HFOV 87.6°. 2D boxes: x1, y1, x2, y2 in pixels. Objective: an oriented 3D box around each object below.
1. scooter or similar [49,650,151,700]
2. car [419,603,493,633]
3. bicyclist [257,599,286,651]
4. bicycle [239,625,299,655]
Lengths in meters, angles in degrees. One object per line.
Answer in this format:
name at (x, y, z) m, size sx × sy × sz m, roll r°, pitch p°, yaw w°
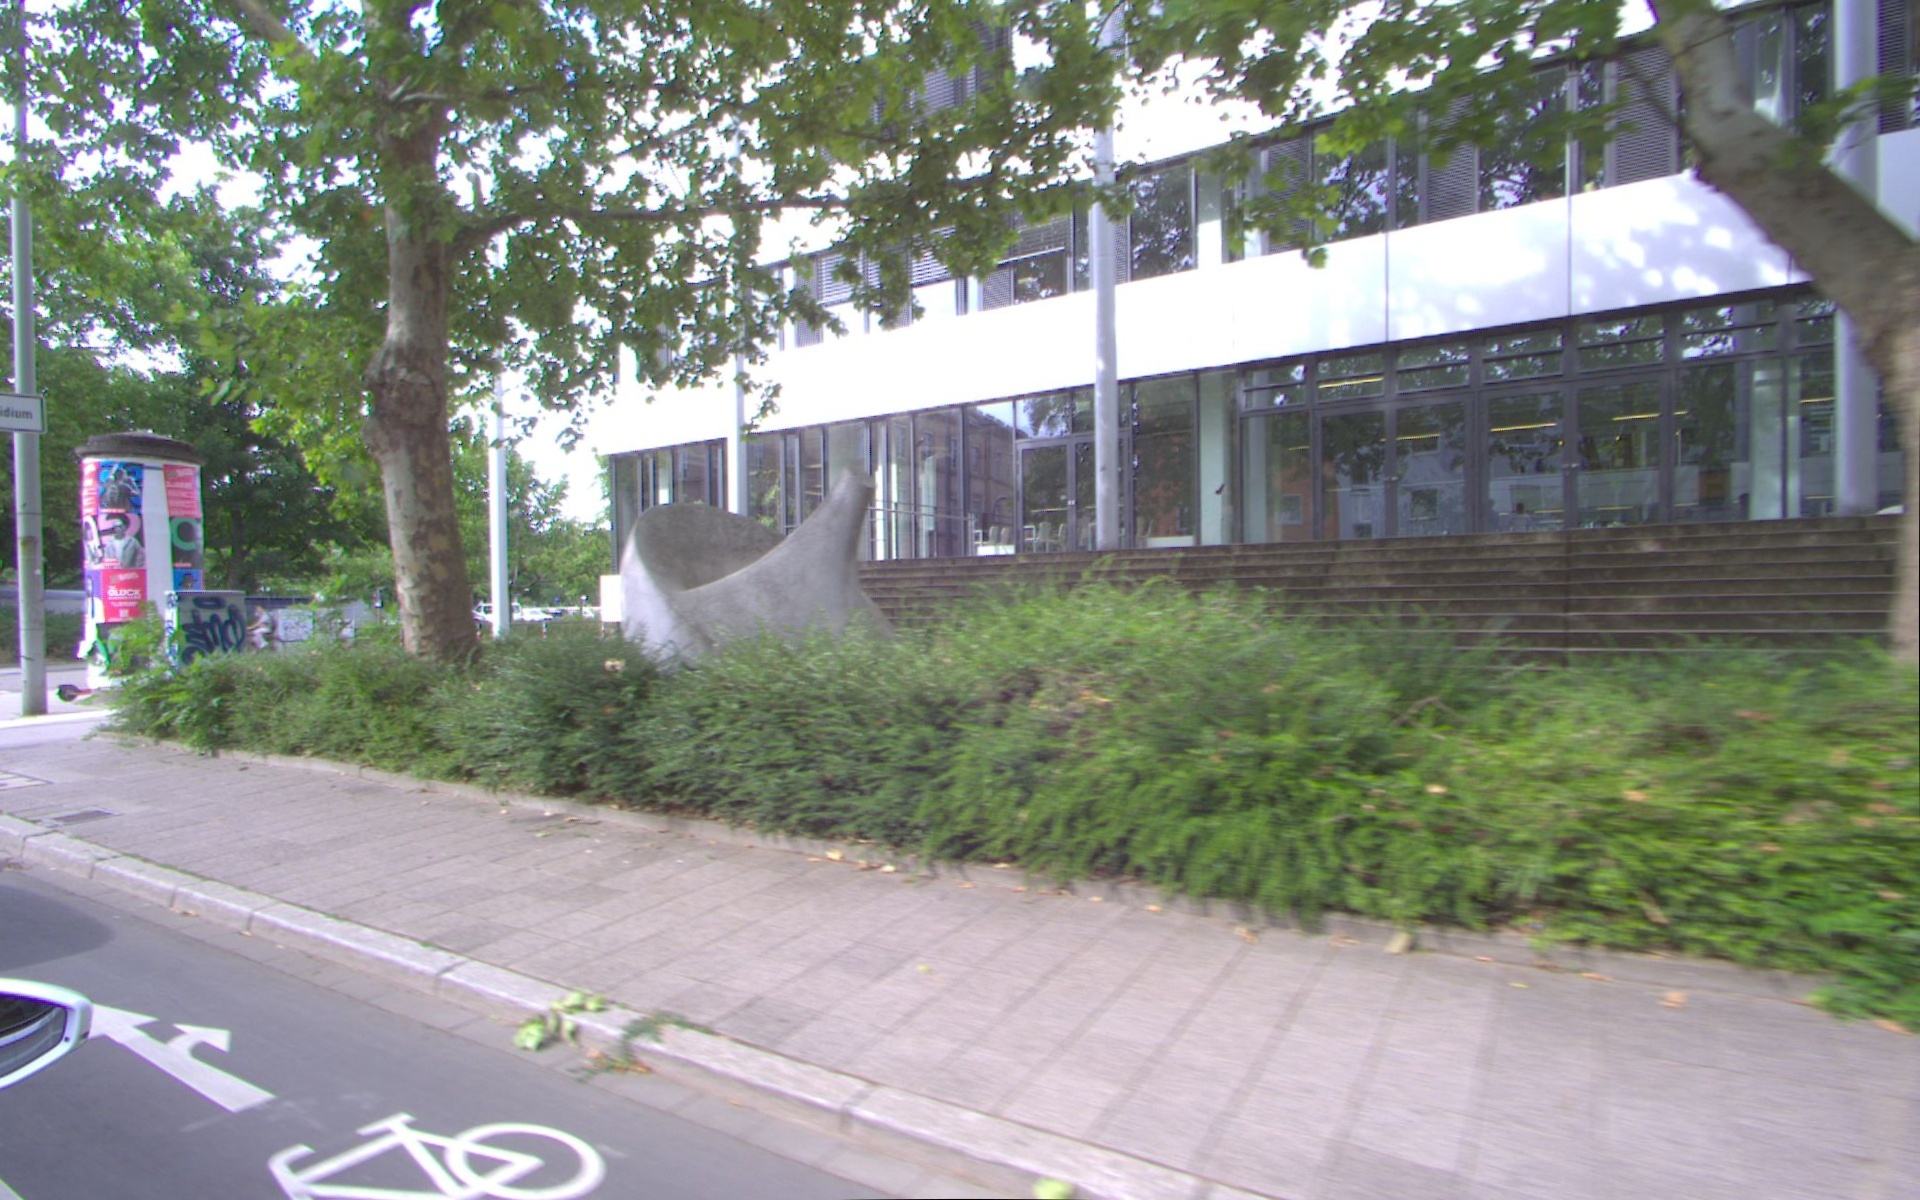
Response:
scooter or similar at (-14.218, 1.227, 16.582) m, size 0.364 × 0.746 × 1.216 m, roll 0°, pitch 0°, yaw 32°
car at (-29.143, 1.036, 57.890) m, size 4.091 × 1.673 × 1.958 m, roll -1°, pitch 0°, yaw 30°
bicyclist at (-21.995, 0.795, 31.990) m, size 0.528 × 1.640 × 0.567 m, roll 0°, pitch 1°, yaw 32°
bicycle at (-22.035, 1.261, 31.942) m, size 0.547 × 0.897 × 1.467 m, roll 0°, pitch 0°, yaw 32°
